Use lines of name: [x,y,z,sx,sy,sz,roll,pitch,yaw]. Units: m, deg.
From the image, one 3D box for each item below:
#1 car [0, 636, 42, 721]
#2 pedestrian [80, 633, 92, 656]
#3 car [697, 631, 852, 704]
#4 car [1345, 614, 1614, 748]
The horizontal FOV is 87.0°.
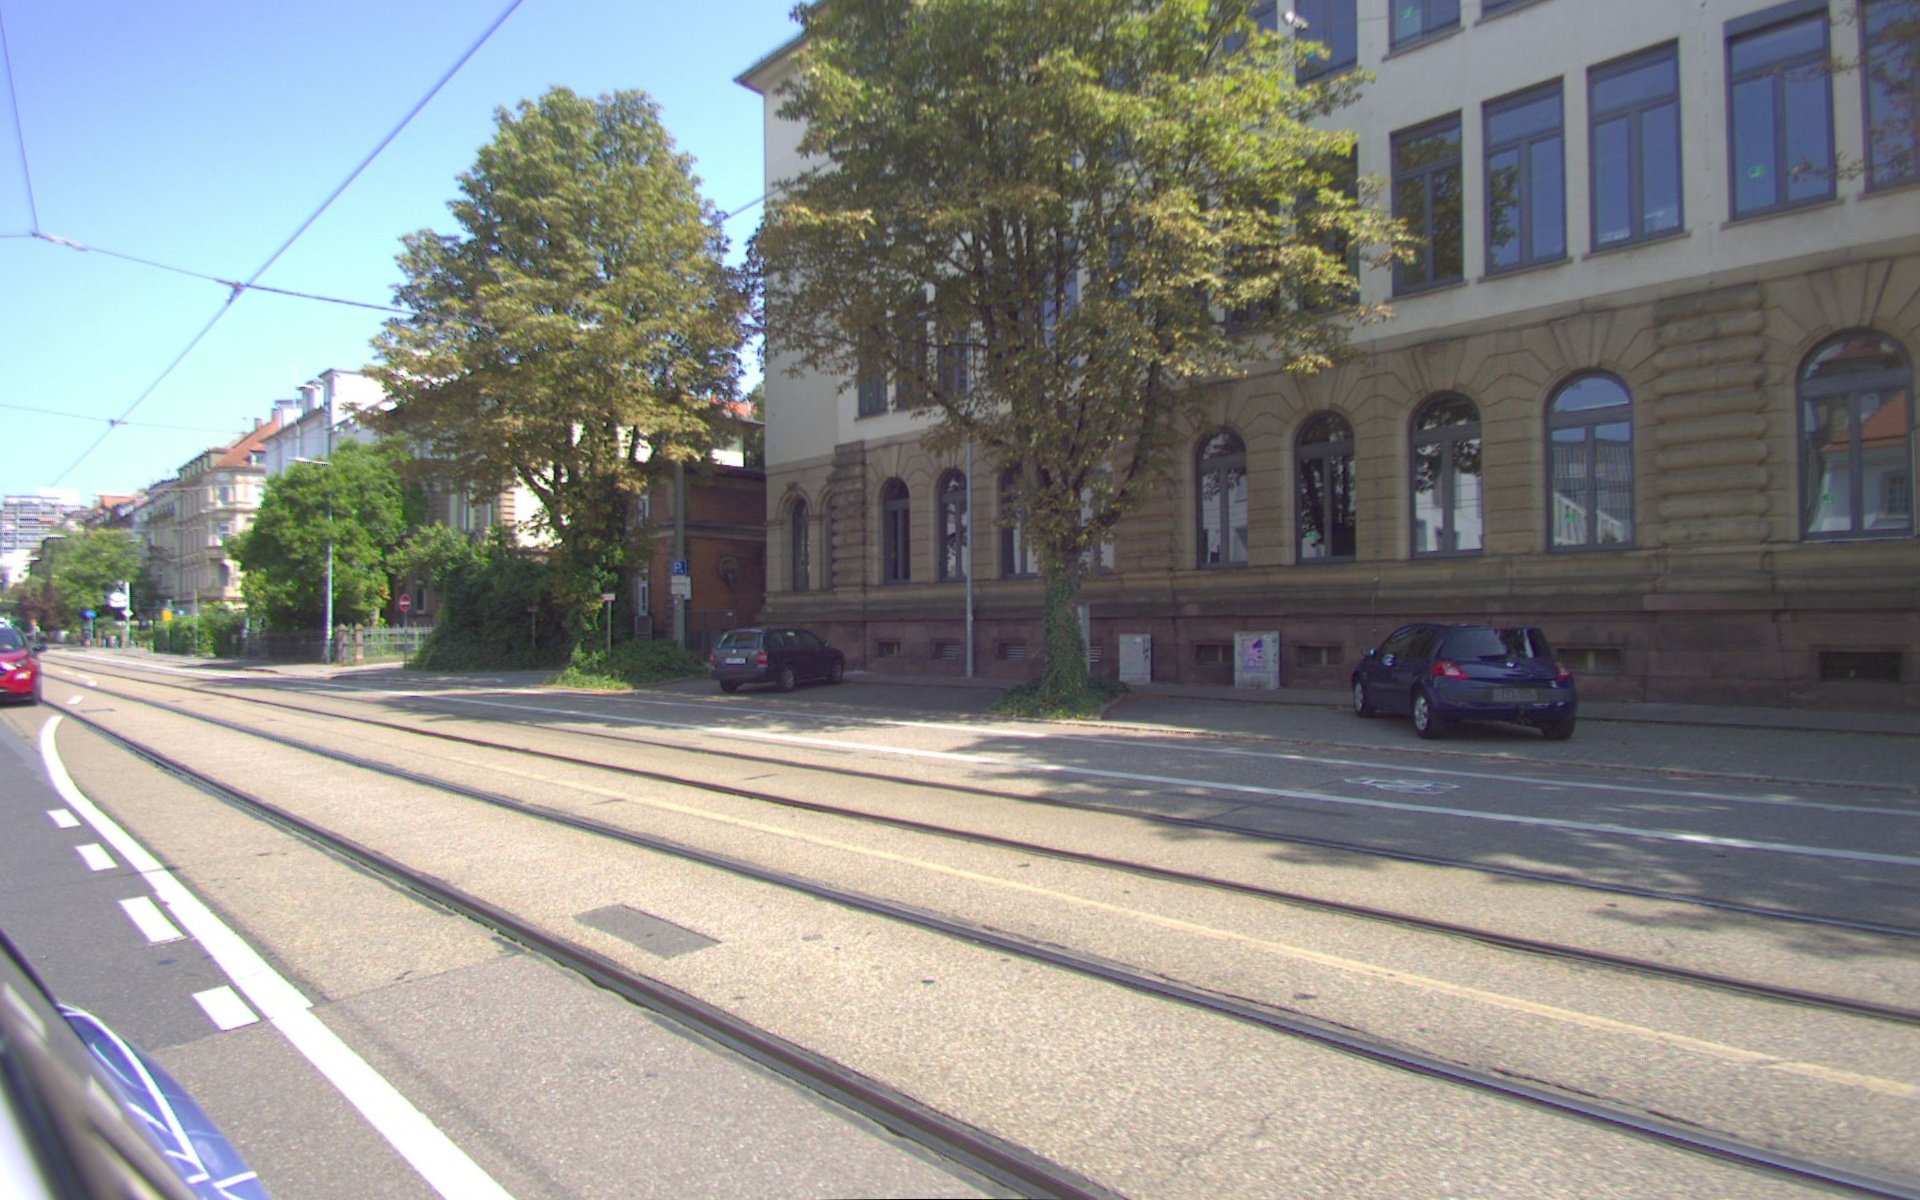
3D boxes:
car: [-19.521,1.519,20.036,4.023,1.563,1.790,-2,-2,45]
pedestrian: [-79.113,4.013,91.603,0.974,2.029,0.648,-2,-3,42]
car: [-4.234,1.519,23.847,1.805,1.473,4.405,-1,-1,16]
car: [6.713,0.987,13.648,1.799,1.507,4.156,-1,-2,6]
